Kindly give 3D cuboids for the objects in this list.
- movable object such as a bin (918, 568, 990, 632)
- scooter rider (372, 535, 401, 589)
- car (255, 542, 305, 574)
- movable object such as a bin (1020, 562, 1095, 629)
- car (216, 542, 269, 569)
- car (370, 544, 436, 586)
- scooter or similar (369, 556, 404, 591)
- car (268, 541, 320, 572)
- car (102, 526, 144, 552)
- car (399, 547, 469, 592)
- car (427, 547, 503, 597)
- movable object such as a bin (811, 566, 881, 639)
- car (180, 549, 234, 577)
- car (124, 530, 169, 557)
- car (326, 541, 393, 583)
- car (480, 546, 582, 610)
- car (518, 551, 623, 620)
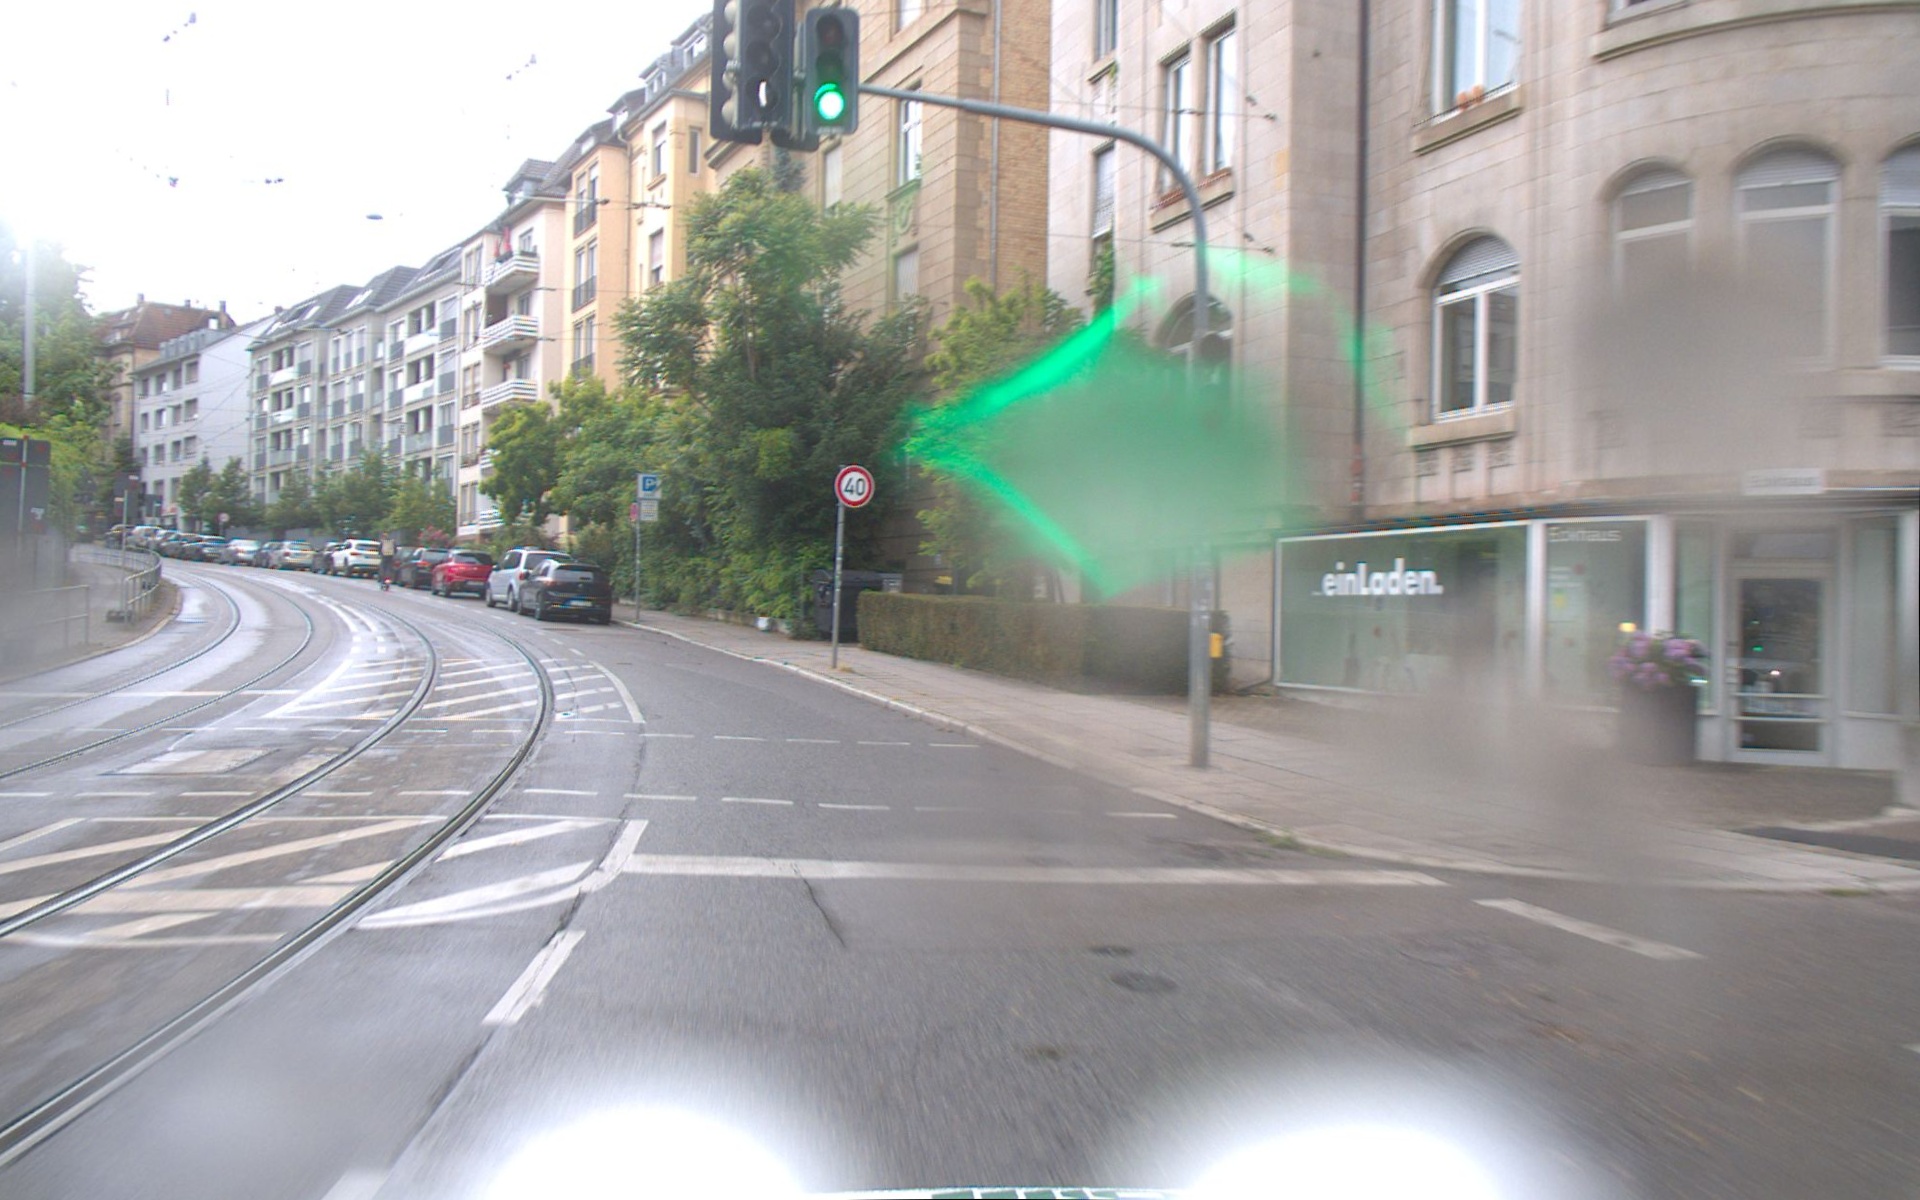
[{"bbox_3d":[-0.130,-0.016,35.693,1.201,1.331,1.160,-1,2,-24],"label":"movable object such as a bin"},{"bbox_3d":[-19.058,-1.271,54.967,0.618,1.735,0.833,4,0,-36],"label":"scooter rider"},{"bbox_3d":[-36.910,-2.267,89.685,1.688,1.538,3.669,3,1,-35],"label":"car"},{"bbox_3d":[2.163,-0.118,36.734,1.214,1.449,1.298,-1,2,-24],"label":"movable object such as a bin"},{"bbox_3d":[-41.460,-2.570,95.539,1.749,1.459,4.578,0,2,-37],"label":"car"},{"bbox_3d":[-21.814,-1.393,64.685,1.540,1.461,4.260,2,1,-31],"label":"car"},{"bbox_3d":[-19.146,-0.902,55.206,0.509,1.067,1.984,4,1,-35],"label":"scooter or similar"},{"bbox_3d":[-34.588,-2.252,85.828,1.646,1.497,4.456,3,0,-33],"label":"car"},{"bbox_3d":[-61.081,-4.486,120.637,1.756,1.713,4.186,3,1,-41],"label":"car"},{"bbox_3d":[-19.017,-1.129,59.712,1.664,1.461,4.026,2,1,-29],"label":"car"},{"bbox_3d":[-15.780,-0.913,52.665,1.701,1.461,3.810,2,1,-26],"label":"car"},{"bbox_3d":[-2.364,0.034,34.165,1.213,1.427,0.814,-2,4,-31],"label":"movable object such as a bin"},{"bbox_3d":[-46.923,-2.320,103.038,1.758,1.643,4.181,0,2,-43],"label":"car"},{"bbox_3d":[-57.414,-4.019,116.751,1.757,1.713,4.184,2,1,-42],"label":"car"},{"bbox_3d":[-26.275,-1.676,72.266,1.820,1.600,4.201,3,1,-33],"label":"car"},{"bbox_3d":[-11.750,-0.637,45.150,1.746,1.631,4.249,0,2,-28],"label":"car"},{"bbox_3d":[-9.601,-0.390,40.547,1.743,1.414,3.971,2,3,-24],"label":"car"}]
